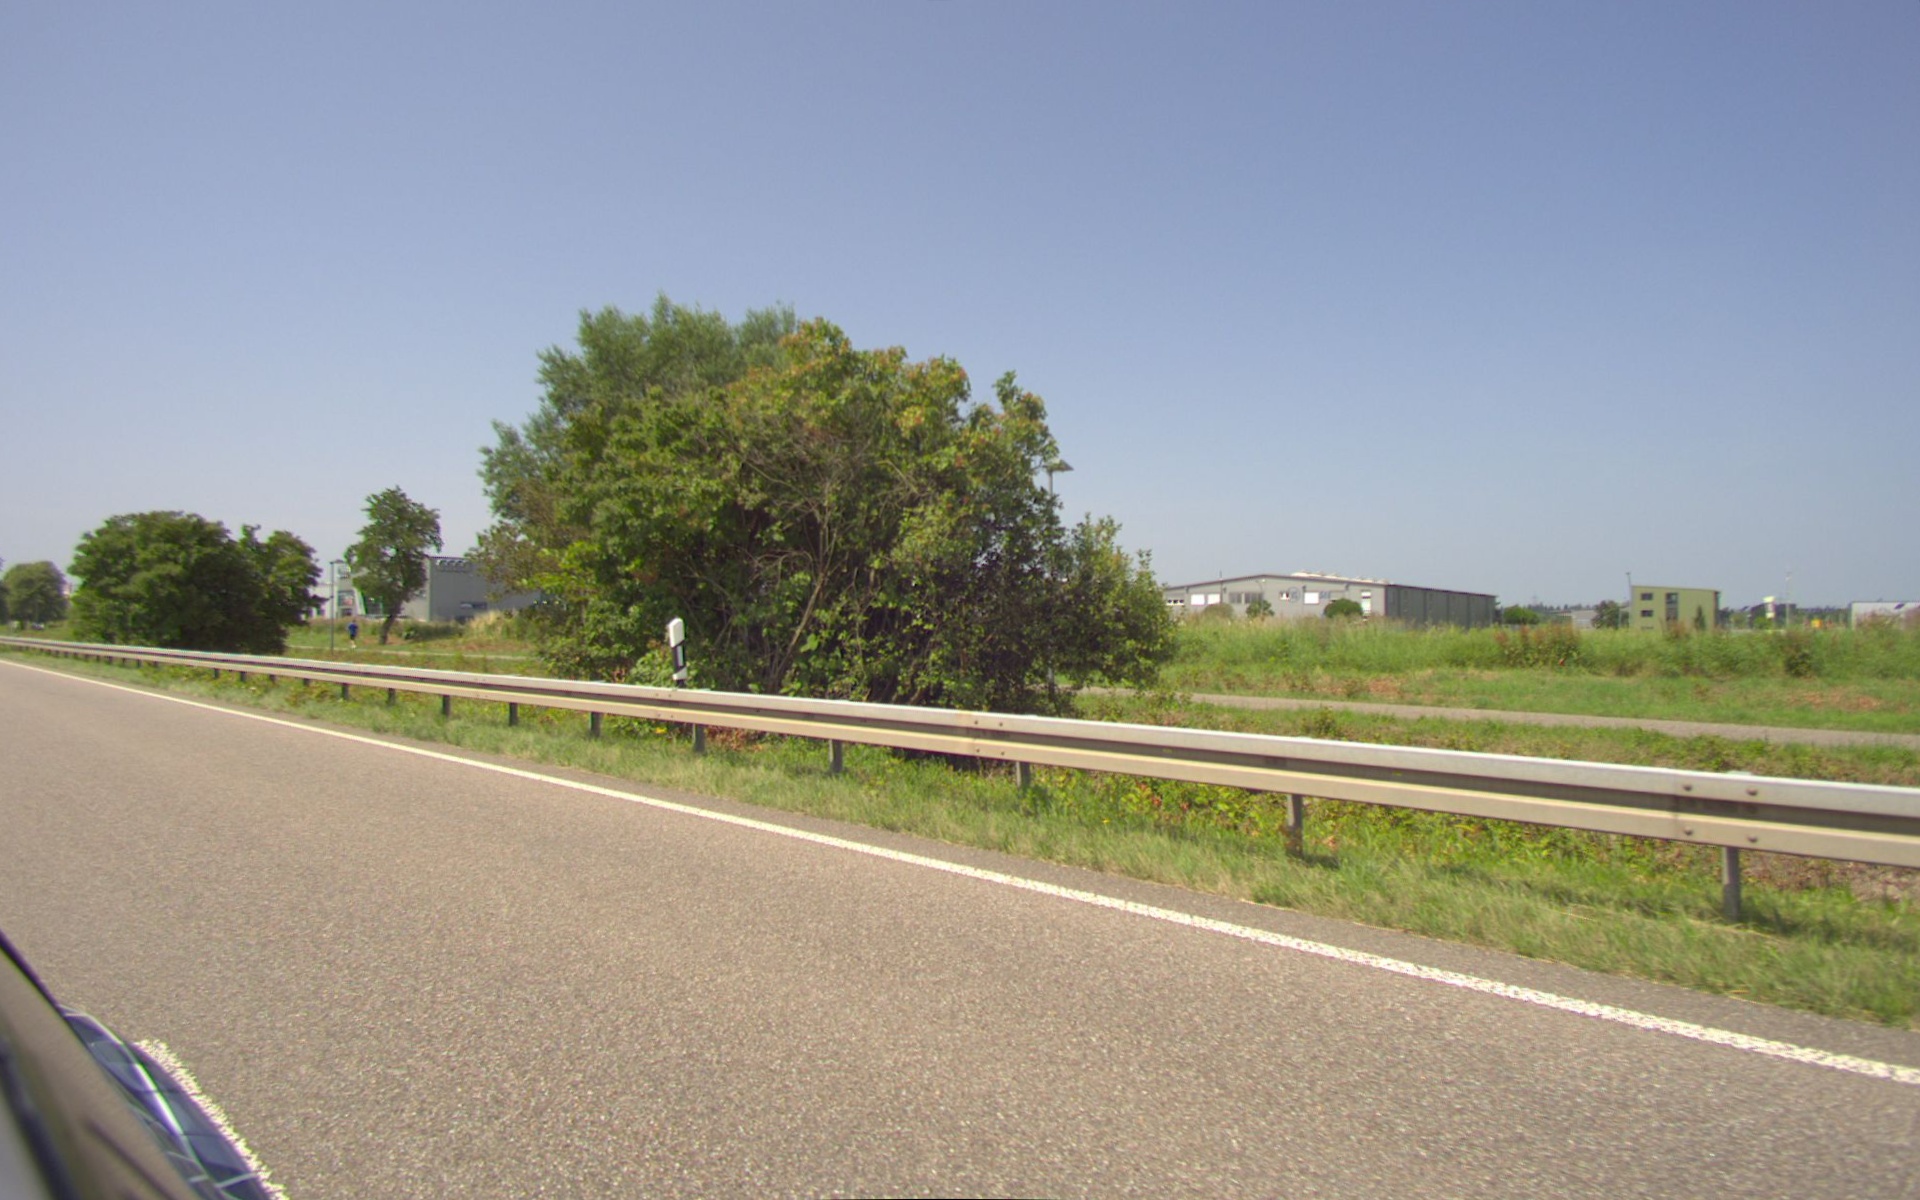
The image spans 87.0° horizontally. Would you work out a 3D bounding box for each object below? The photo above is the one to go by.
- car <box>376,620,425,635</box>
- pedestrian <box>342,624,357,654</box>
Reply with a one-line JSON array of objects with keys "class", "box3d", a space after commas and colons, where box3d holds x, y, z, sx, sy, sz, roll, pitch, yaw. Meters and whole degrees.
[{"class": "car", "box3d": [-59.109, 2.890, 106.938, 1.620, 1.448, 4.191, -1, -3, 33]}, {"class": "pedestrian", "box3d": [-36.963, 2.348, 61.259, 0.572, 1.763, 0.821, 3, -4, -45]}]
